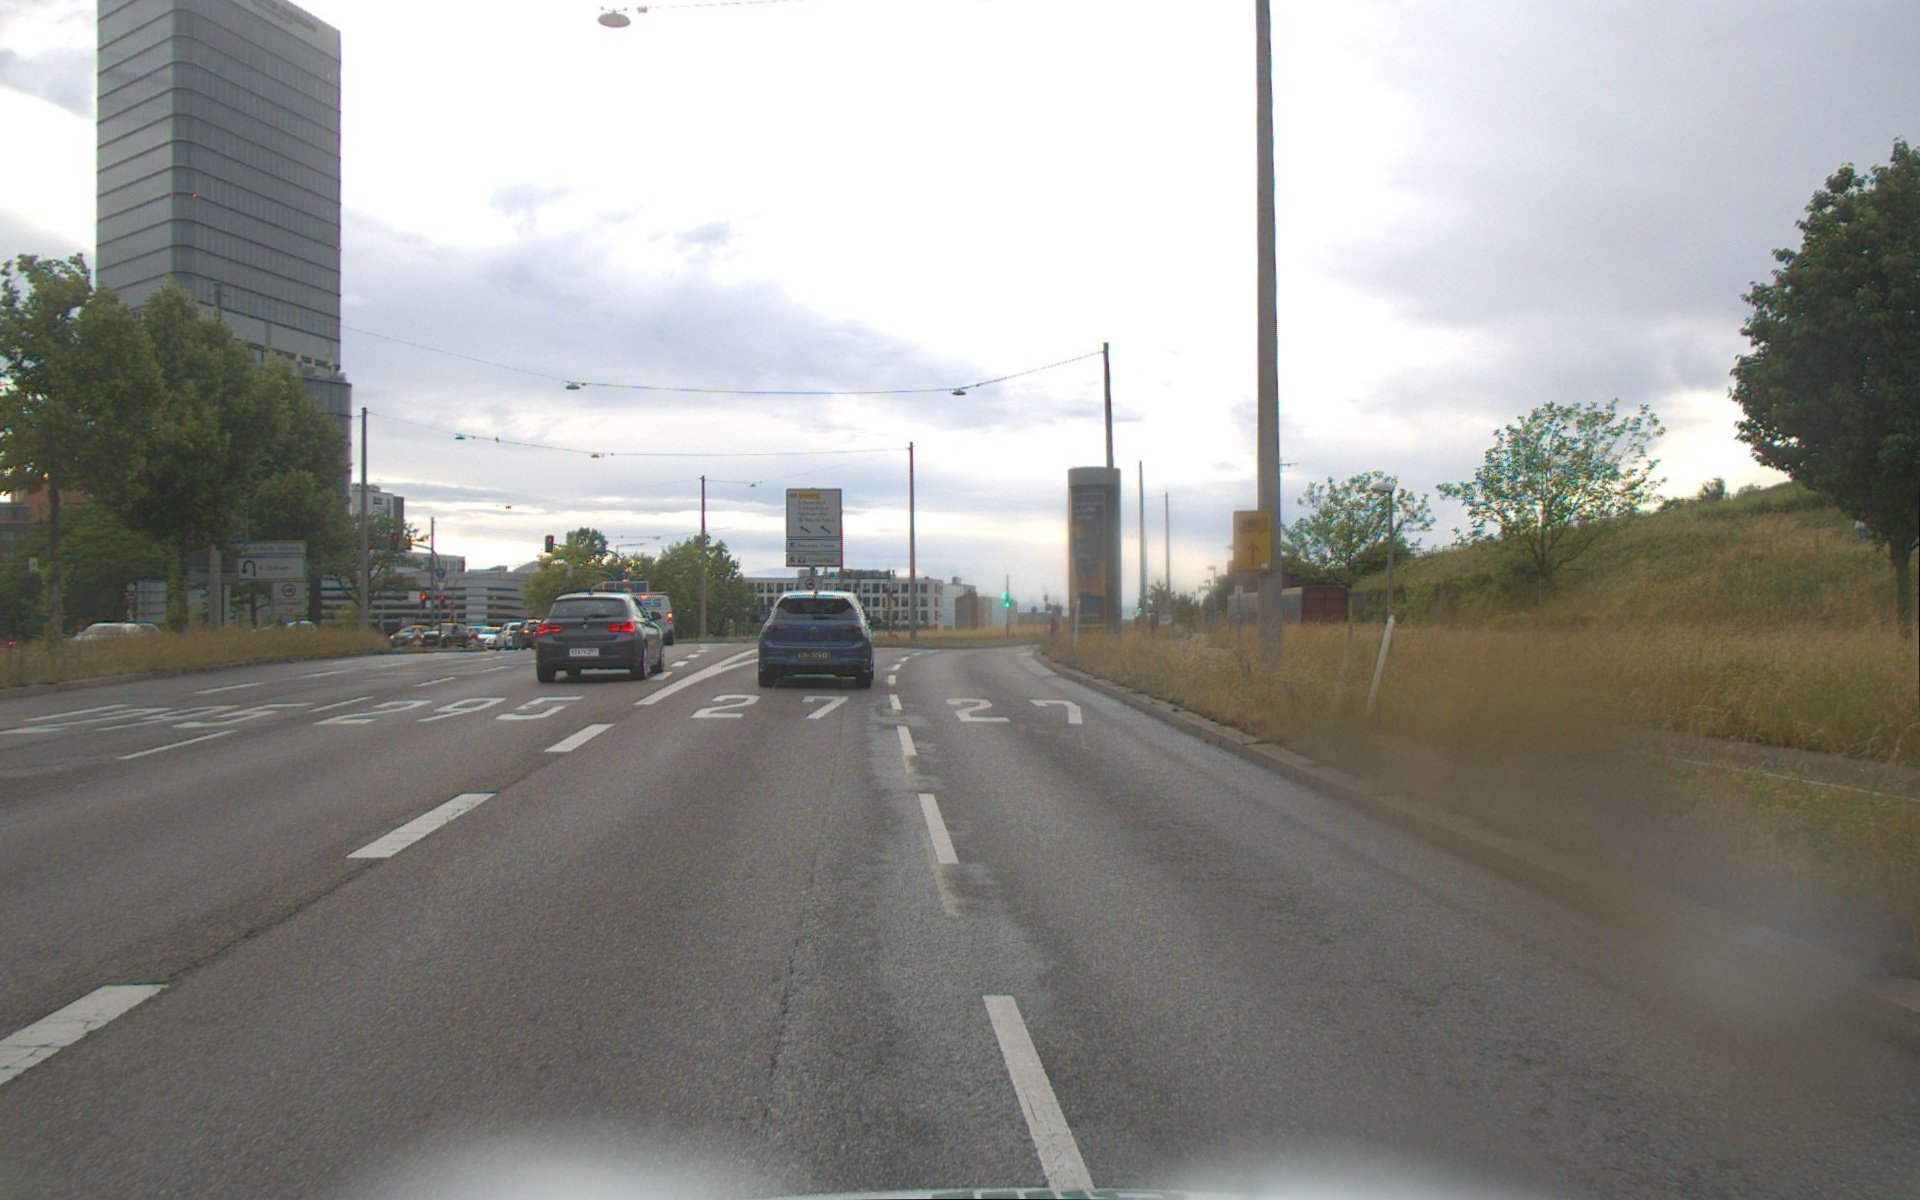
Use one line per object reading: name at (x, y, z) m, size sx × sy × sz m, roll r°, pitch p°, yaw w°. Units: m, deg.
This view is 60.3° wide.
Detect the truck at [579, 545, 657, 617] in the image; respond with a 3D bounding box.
truck at (-16.519, -0.836, 79.673) m, size 2.628 × 3.276 × 6.507 m, roll 1°, pitch -1°, yaw -21°

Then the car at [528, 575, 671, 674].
car at (-6.038, 0.357, 28.095) m, size 1.832 × 1.486 × 3.973 m, roll 0°, pitch 2°, yaw -4°

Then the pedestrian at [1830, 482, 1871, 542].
pedestrian at (30.903, -3.055, 57.402) m, size 0.773 × 2.048 × 1.041 m, roll -3°, pitch 2°, yaw -36°

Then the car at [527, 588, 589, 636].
car at (-14.136, 0.448, 57.988) m, size 1.874 × 1.591 × 3.981 m, roll -1°, pitch -1°, yaw -17°

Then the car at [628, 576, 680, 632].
car at (-11.814, 0.189, 63.688) m, size 1.870 × 2.007 × 5.078 m, roll -1°, pitch -1°, yaw -11°

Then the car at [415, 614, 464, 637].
car at (-35.032, 1.675, 111.375) m, size 1.891 × 1.510 × 4.578 m, roll 0°, pitch -1°, yaw -1°

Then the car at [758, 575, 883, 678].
car at (-2.150, 0.364, 26.359) m, size 1.801 × 1.418 × 3.998 m, roll 2°, pitch 1°, yaw -3°

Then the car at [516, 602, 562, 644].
car at (-23.079, 1.224, 90.525) m, size 1.965 × 2.048 × 3.976 m, roll -2°, pitch 2°, yaw -21°

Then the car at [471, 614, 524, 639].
car at (-31.149, 1.788, 111.427) m, size 1.853 × 1.687 × 4.608 m, roll 0°, pitch -1°, yaw 6°
